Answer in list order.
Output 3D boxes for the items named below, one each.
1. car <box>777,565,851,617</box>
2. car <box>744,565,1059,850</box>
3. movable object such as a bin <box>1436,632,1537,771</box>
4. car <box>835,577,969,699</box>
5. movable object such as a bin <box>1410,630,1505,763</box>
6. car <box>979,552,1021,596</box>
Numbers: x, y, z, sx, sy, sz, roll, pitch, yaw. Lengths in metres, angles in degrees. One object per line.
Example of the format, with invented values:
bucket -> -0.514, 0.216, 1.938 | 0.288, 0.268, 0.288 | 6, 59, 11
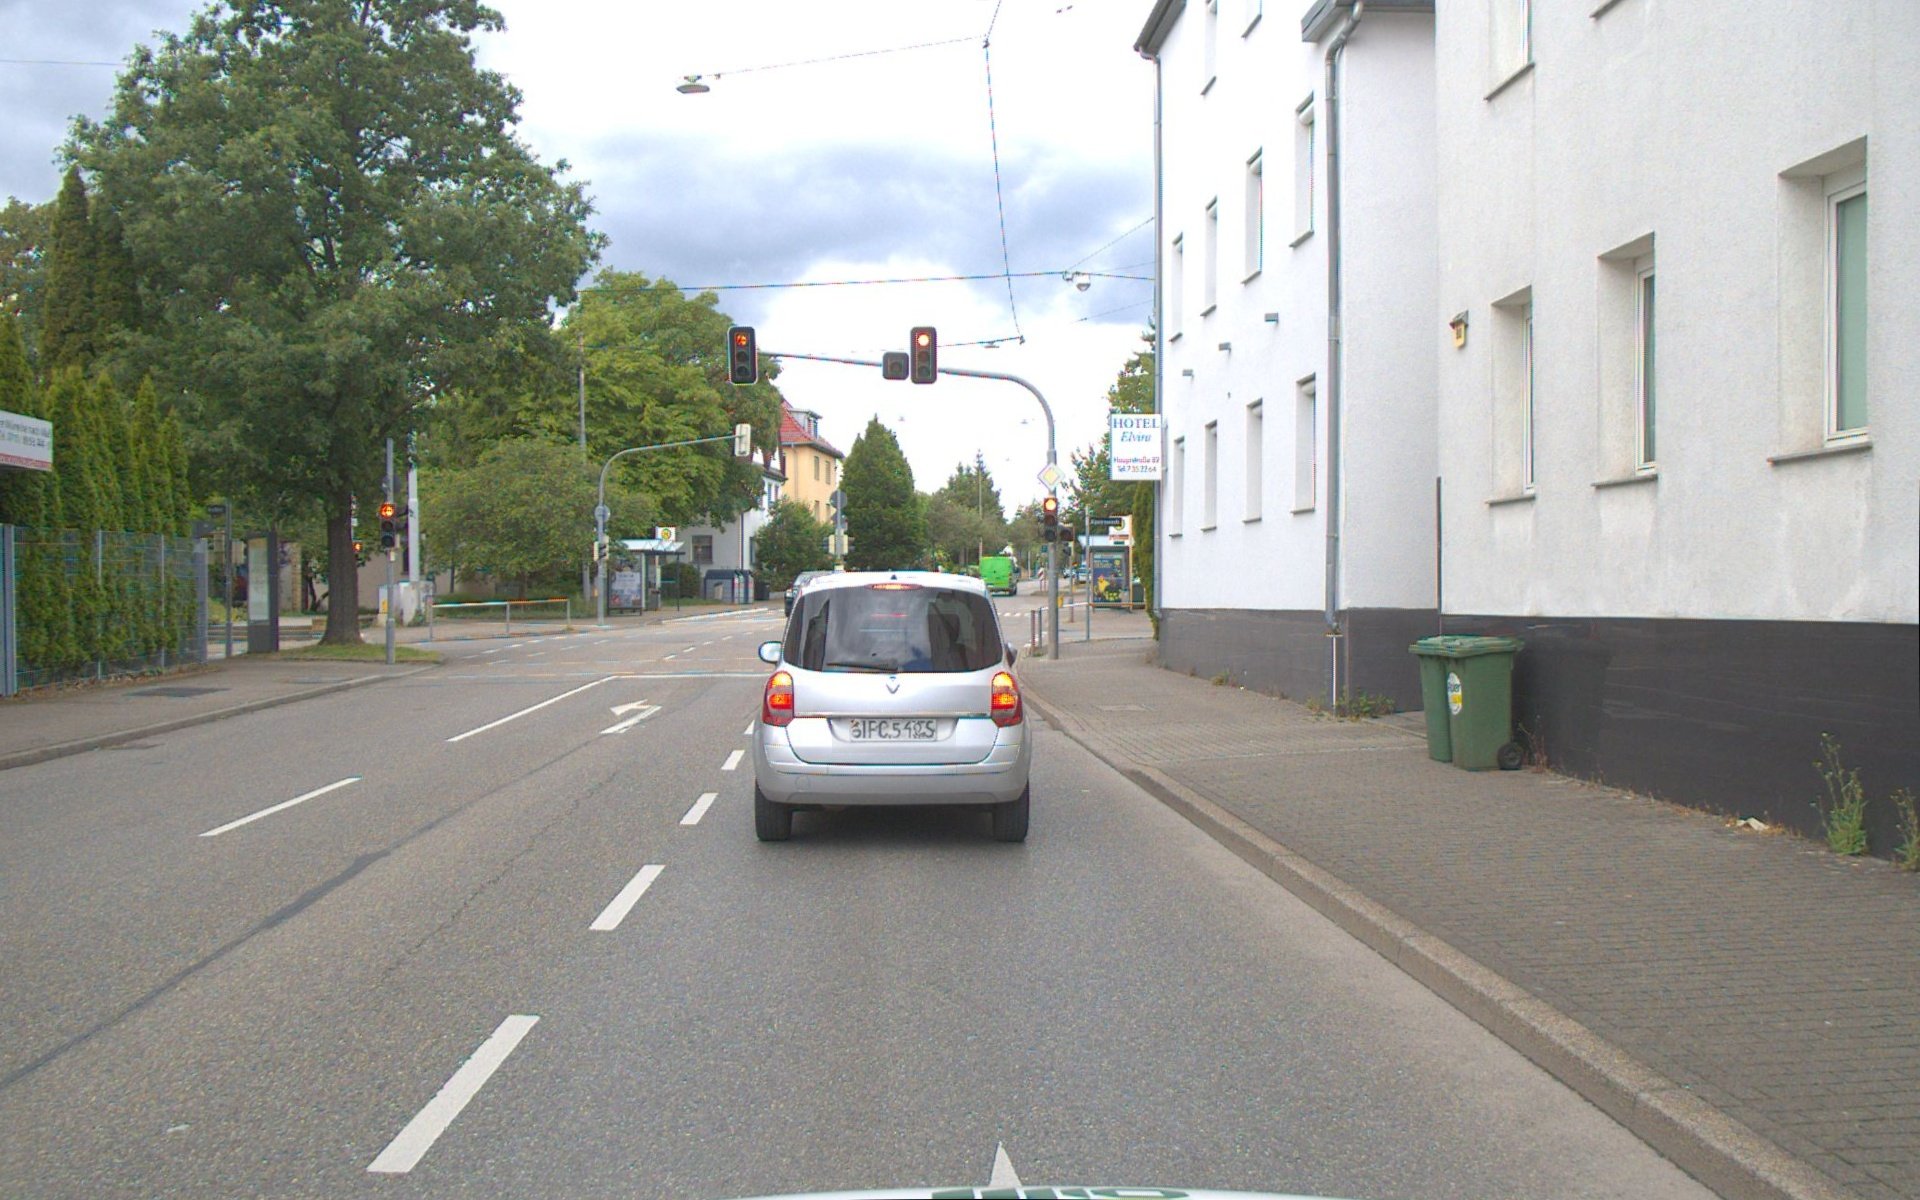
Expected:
car -> -5.582, -0.347, 63.536 | 1.885, 1.804, 4.003 | -4, 0, 8
car -> -0.419, 0.586, 11.095 | 1.720, 1.557, 3.998 | 1, 0, -3
movable object such as a bin -> 3.834, 0.731, 12.068 | 0.529, 0.957, 0.487 | -3, 0, -3
car -> -0.840, 0.480, 23.166 | 1.720, 1.557, 3.795 | 1, 0, -3
movable object such as a bin -> 3.786, 0.728, 12.602 | 0.529, 0.957, 0.487 | -3, 0, -3
car -> 2.445, -1.546, 99.114 | 2.015, 2.556, 5.599 | 1, 0, 6
